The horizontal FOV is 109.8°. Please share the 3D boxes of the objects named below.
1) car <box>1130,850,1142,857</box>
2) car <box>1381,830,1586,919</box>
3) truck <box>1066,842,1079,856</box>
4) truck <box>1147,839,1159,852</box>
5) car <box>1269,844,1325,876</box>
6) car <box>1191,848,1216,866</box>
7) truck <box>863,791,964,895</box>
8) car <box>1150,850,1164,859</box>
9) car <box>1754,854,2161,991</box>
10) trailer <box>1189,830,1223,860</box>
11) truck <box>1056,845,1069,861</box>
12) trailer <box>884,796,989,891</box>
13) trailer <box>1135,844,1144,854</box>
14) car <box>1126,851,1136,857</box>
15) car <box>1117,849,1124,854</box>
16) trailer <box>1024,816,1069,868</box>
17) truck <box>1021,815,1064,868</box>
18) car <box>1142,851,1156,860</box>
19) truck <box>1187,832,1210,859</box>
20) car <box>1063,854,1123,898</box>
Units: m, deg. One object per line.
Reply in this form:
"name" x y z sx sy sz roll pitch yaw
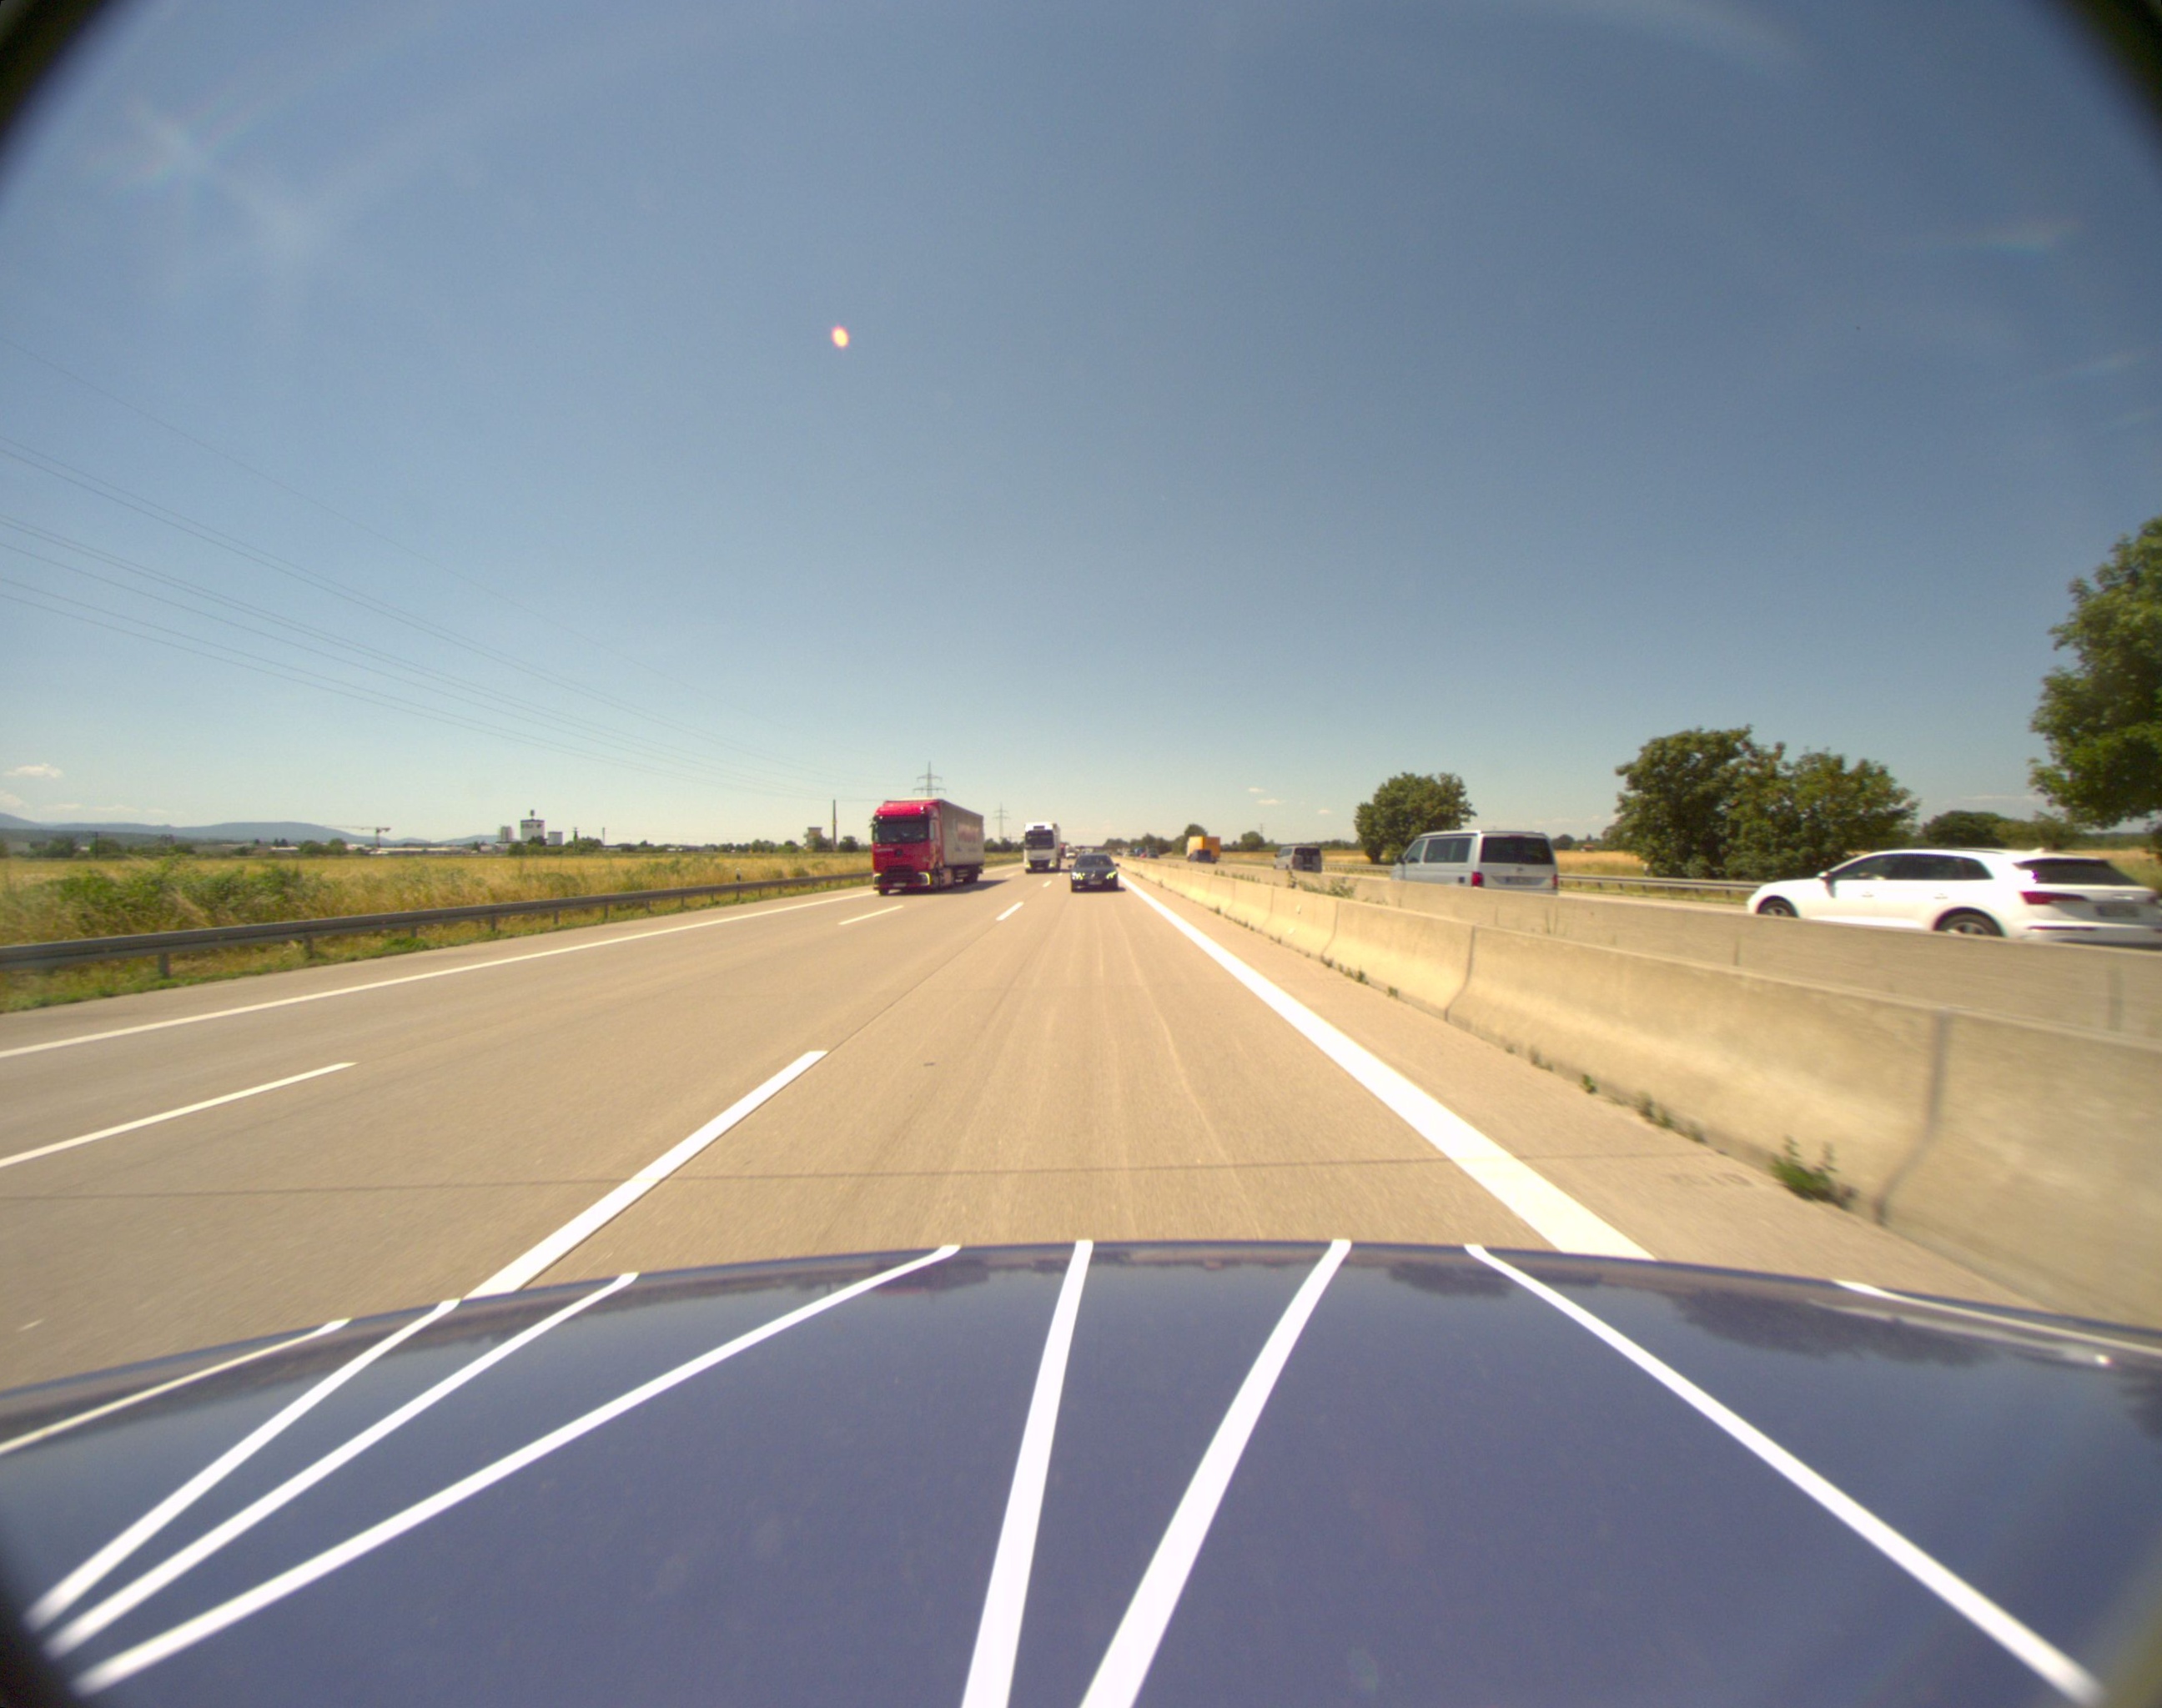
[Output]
"car" 11.313 -0.119 156.434 1.998 1.476 4.710 0 0 1
"car" 8.938 0.393 17.533 1.998 1.725 5.114 1 0 0
"truck" -2.065 -1.176 187.621 2.784 3.328 7.812 -2 0 0
"truck" 19.938 -2.303 209.907 2.561 3.492 7.884 0 0 0
"car" 13.777 0.342 48.832 1.998 1.928 5.689 1 0 0
"car" 14.207 0.336 88.483 1.936 1.988 5.517 -2 0 0
"truck" -7.185 -0.451 33.564 2.913 4.077 6.271 -2 0 0
"car" 10.958 0.063 109.793 1.694 1.324 4.000 -2 0 0
"car" 13.075 0.814 11.334 1.927 1.602 4.685 1 0 0
"trailer" 18.487 -1.262 113.187 2.880 4.174 14.139 1 1 1
"truck" -5.238 -0.214 216.420 2.855 4.297 10.886 -2 0 1
"trailer" -7.193 -0.471 40.321 2.881 4.077 13.511 -2 0 0
"trailer" 20.037 -1.782 260.160 2.521 3.253 9.252 -2 0 0
"car" 11.762 -0.108 179.518 1.998 1.356 4.670 1 0 1
"car" 12.551 -0.774 240.623 1.998 1.567 4.848 -2 0 1
"trailer" -2.901 -0.973 68.139 3.025 4.037 14.206 -2 0 1
"truck" -3.002 -0.969 61.381 2.992 4.039 5.477 -2 0 1
"car" 11.362 0.204 127.651 1.998 1.386 4.716 0 0 1
"truck" 18.567 -1.303 120.533 2.876 4.171 5.229 1 1 1
"car" 0.396 0.719 28.409 1.999 1.462 6.347 0 0 0
